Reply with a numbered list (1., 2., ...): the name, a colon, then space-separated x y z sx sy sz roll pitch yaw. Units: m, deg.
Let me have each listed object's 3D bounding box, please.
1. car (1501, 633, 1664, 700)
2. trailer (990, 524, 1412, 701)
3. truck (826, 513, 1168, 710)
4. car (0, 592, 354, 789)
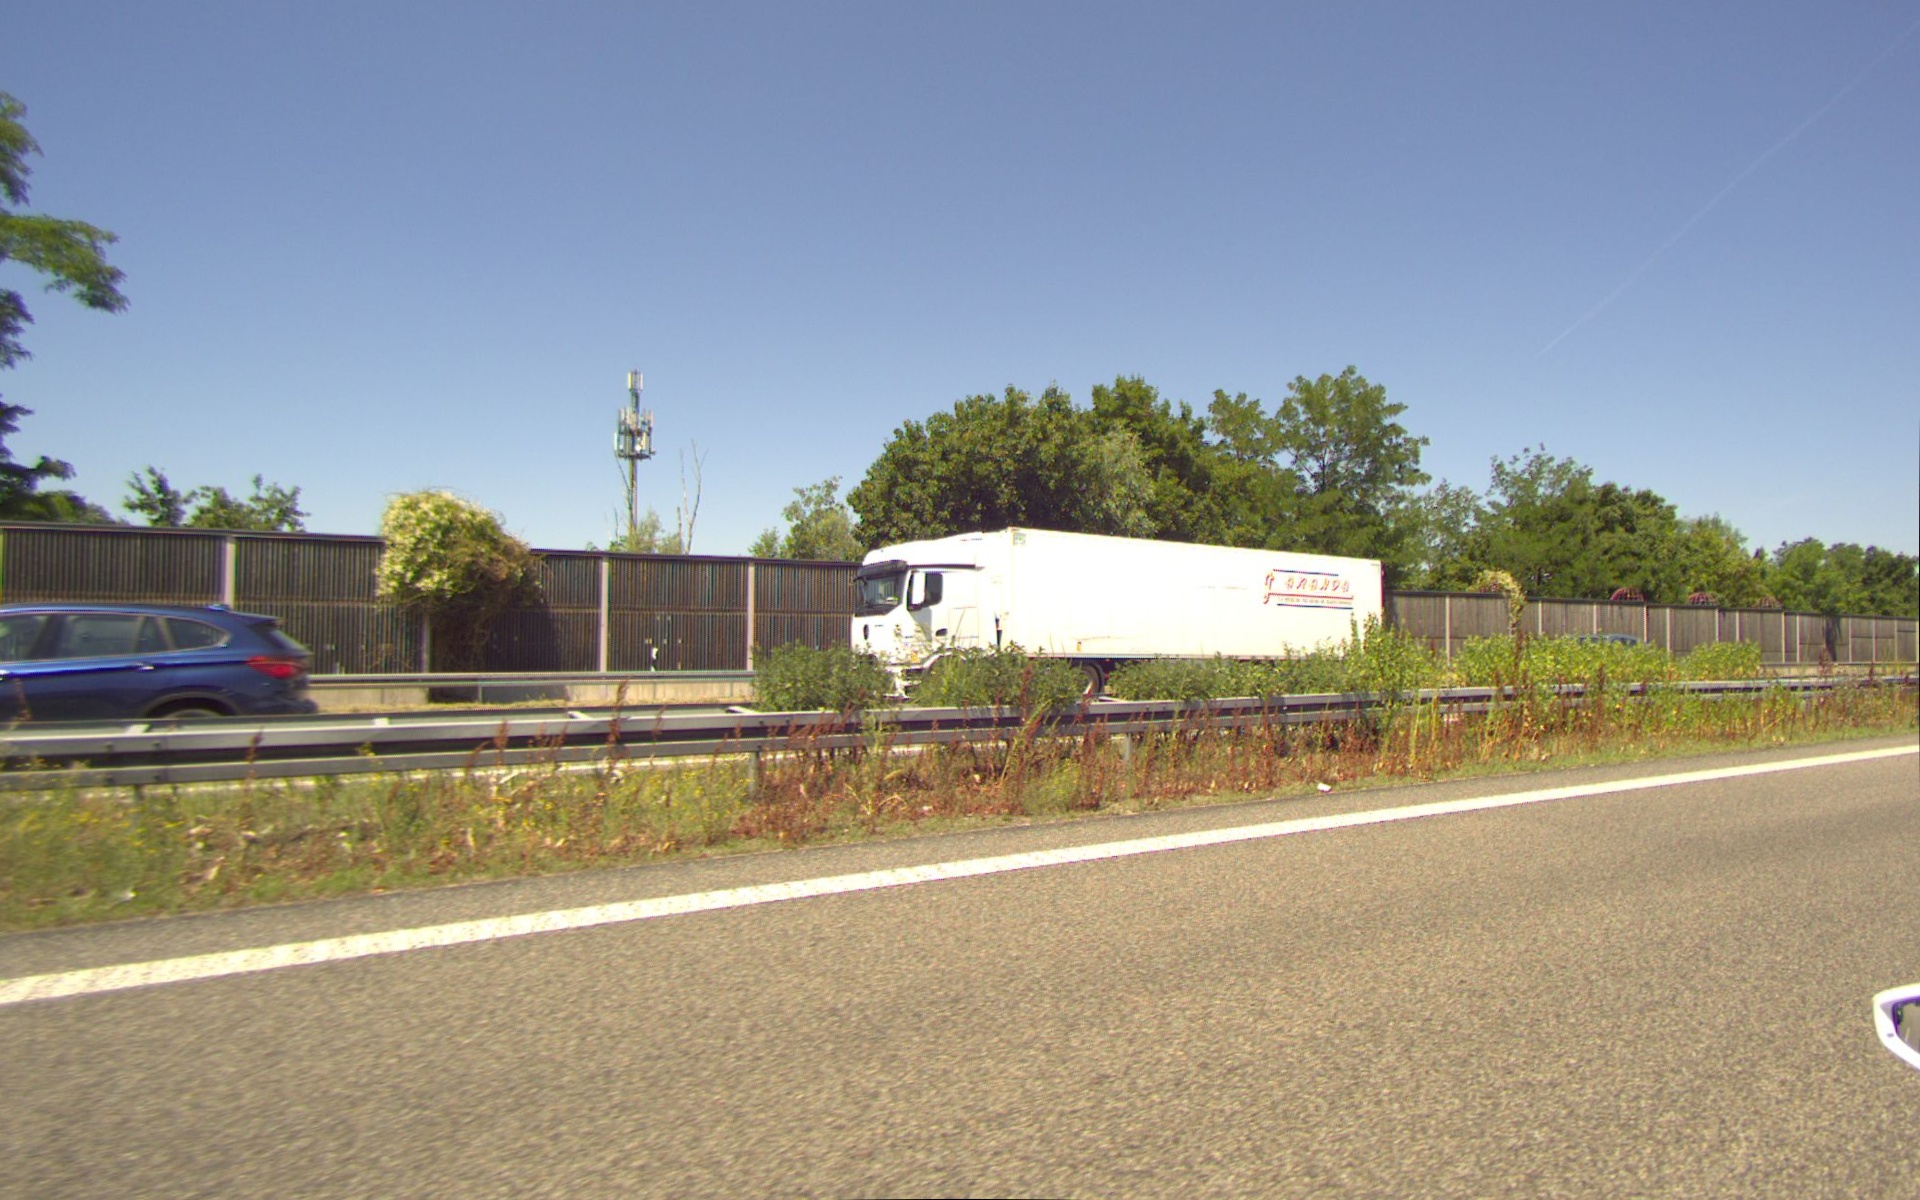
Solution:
1. car: 16.394 1.708 26.417 4.387 1.617 1.814 2 -2 -30
2. trailer: 7.130 0.503 28.327 12.645 4.157 3.594 2 -2 -30
3. truck: 0.987 0.377 24.720 7.746 4.157 3.565 2 -2 -30
4. car: -8.296 0.775 9.127 4.692 1.617 1.814 2 -2 -30
